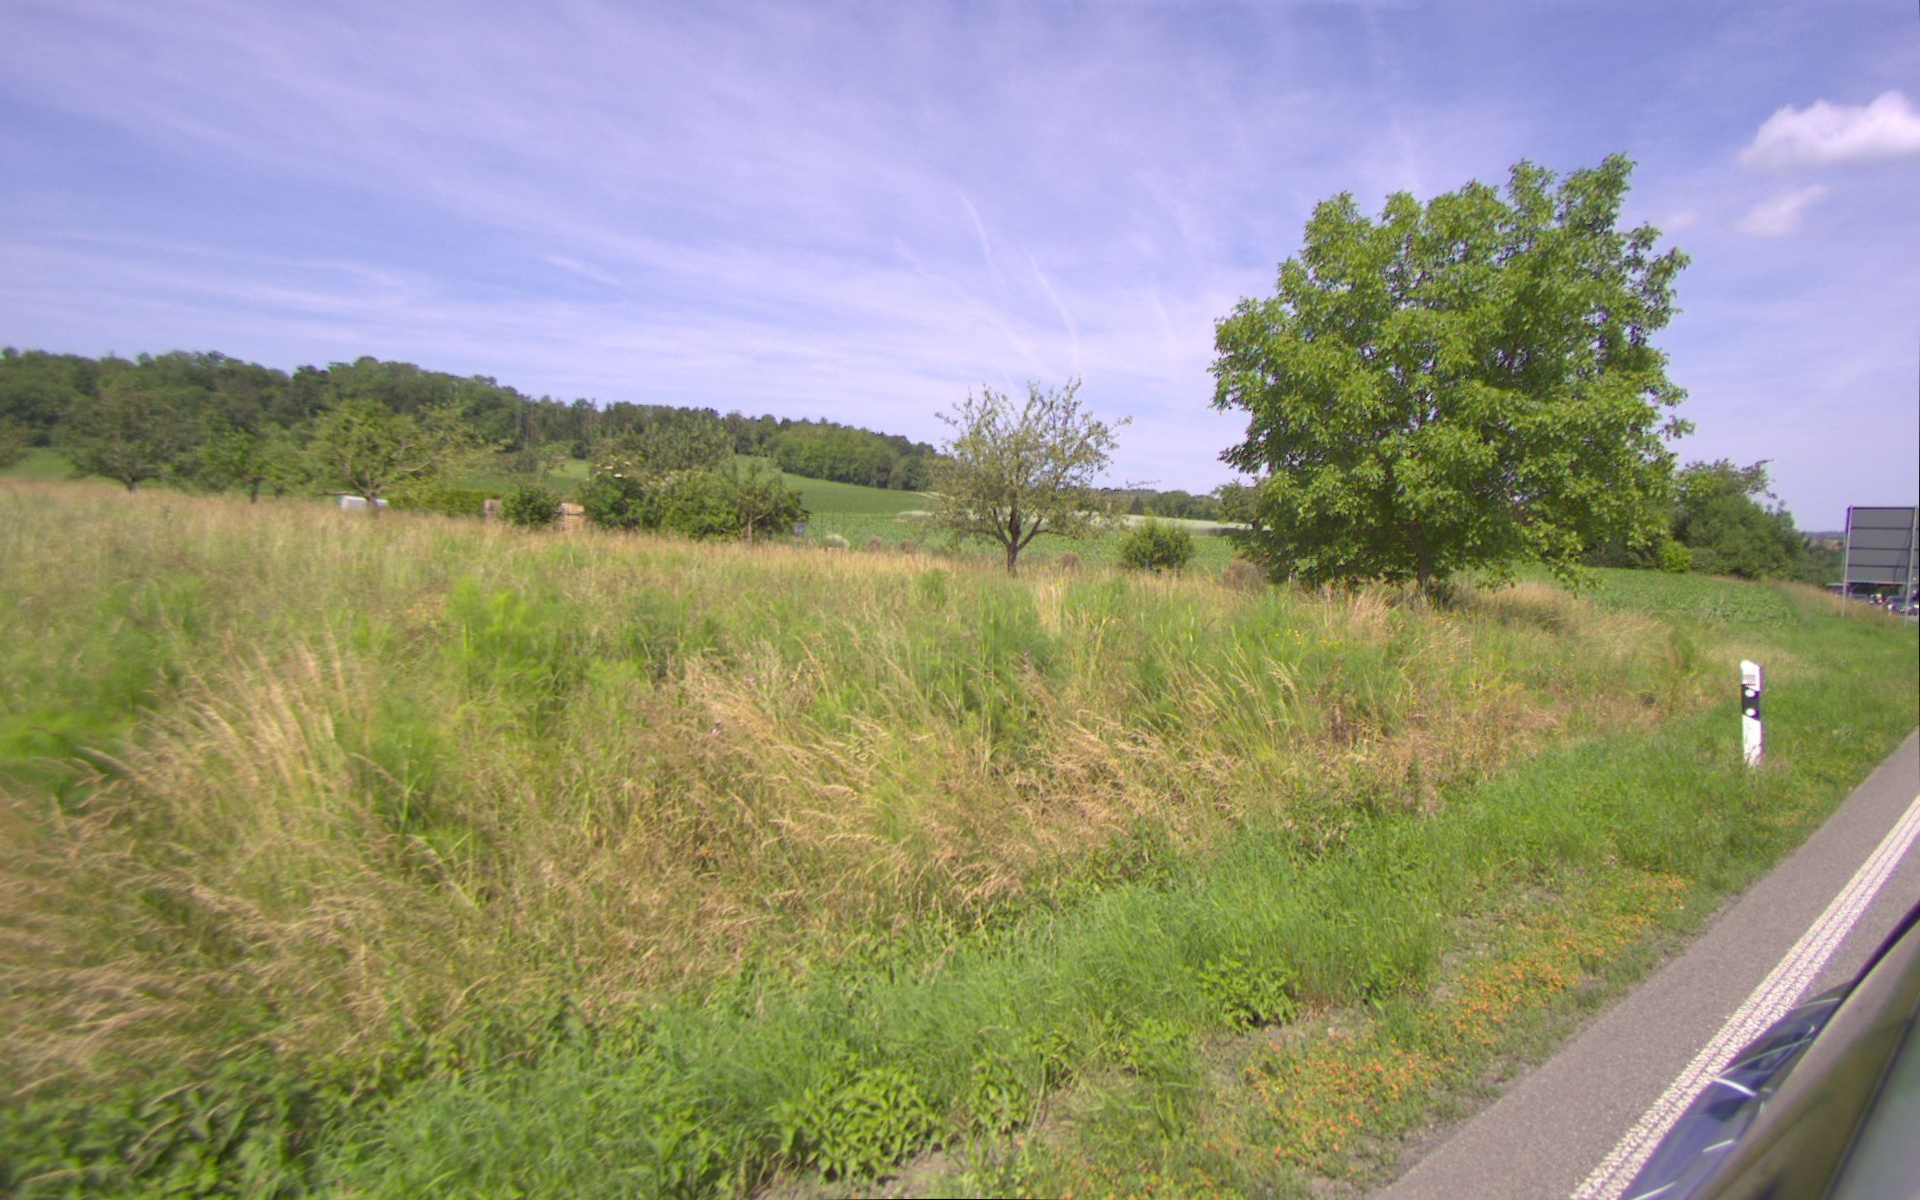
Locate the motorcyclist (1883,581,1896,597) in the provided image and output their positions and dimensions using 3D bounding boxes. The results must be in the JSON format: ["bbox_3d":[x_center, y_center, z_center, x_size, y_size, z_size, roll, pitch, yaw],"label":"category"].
[{"bbox_3d":[100.992,-1.172,109.927,0.916,1.739,0.950,2,1,37],"label":"motorcyclist"}]

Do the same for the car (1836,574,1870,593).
[{"bbox_3d":[111.290,-2.076,126.201,2.161,2.331,4.854,3,3,31],"label":"car"}]

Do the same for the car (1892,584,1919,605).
[{"bbox_3d":[74.474,-0.443,79.028,1.814,1.538,3.952,4,3,33],"label":"car"}]

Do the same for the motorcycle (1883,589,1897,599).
[{"bbox_3d":[100.907,-0.687,109.817,0.755,1.006,2.252,3,3,34],"label":"motorcycle"}]

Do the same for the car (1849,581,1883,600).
[{"bbox_3d":[87.049,-0.910,97.273,1.655,1.670,3.954,3,3,32],"label":"car"}]
